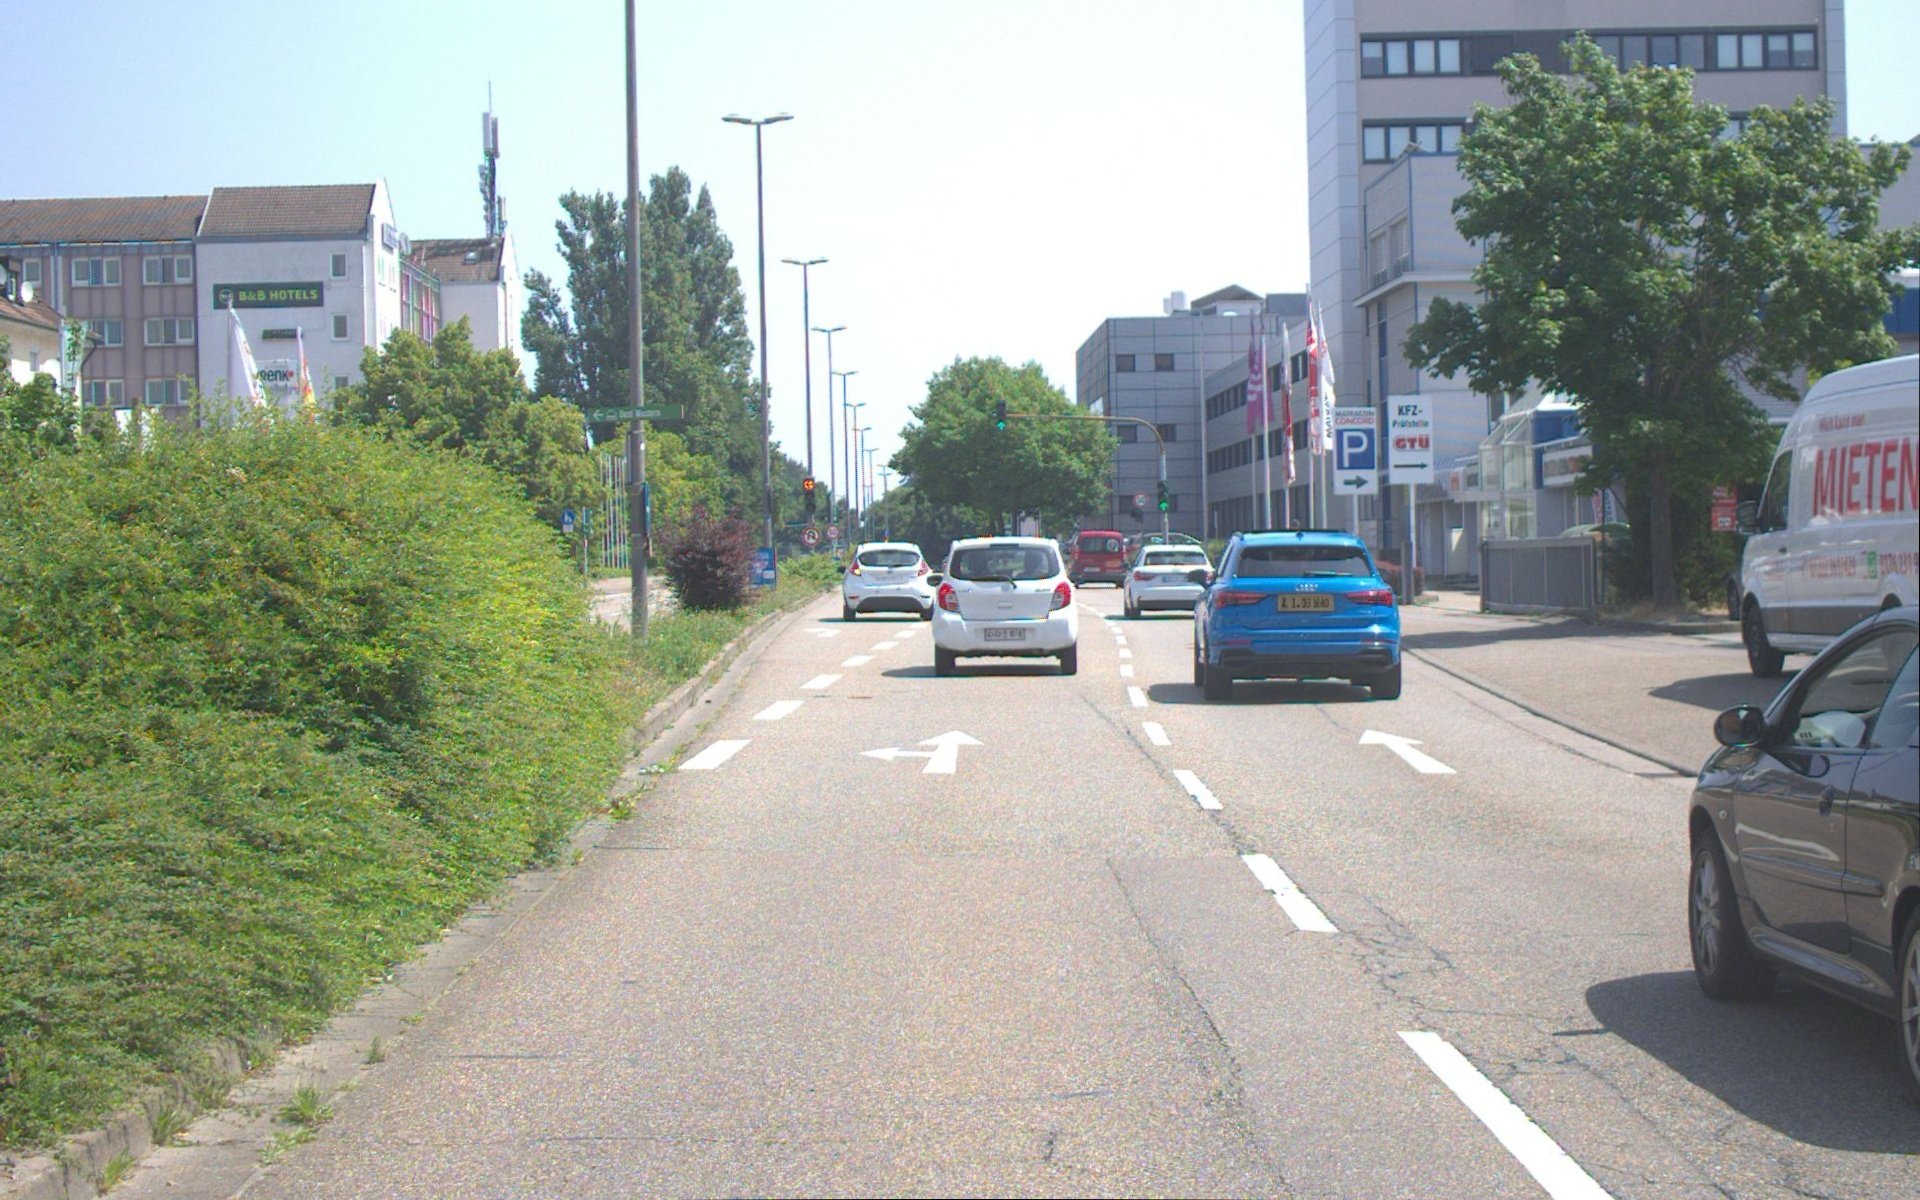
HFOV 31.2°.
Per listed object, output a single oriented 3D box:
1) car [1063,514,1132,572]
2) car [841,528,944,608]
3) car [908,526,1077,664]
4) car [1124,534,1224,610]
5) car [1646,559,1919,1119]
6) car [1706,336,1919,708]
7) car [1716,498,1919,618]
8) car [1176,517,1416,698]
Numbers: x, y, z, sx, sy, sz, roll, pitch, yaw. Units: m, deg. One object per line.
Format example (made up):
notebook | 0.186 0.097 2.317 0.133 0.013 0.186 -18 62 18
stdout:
car | 4.289 -1.770 107.715 1.794 1.723 3.973 0 0 -3
car | -1.251 -0.584 65.036 1.830 1.445 4.000 0 0 1
car | 0.327 -0.065 39.115 1.712 1.505 3.247 0 0 -3
car | 4.093 -0.547 66.204 1.667 1.394 3.793 -1 1 0
car | 3.228 0.596 10.120 1.600 1.420 3.661 0 1 -1
car | 8.312 -0.689 29.120 2.133 2.830 7.310 -3 1 -1
car | 11.634 -0.535 46.595 1.749 1.506 4.000 0 -1 -2
car | 3.200 0.019 33.562 1.913 1.591 4.396 1 2 0
